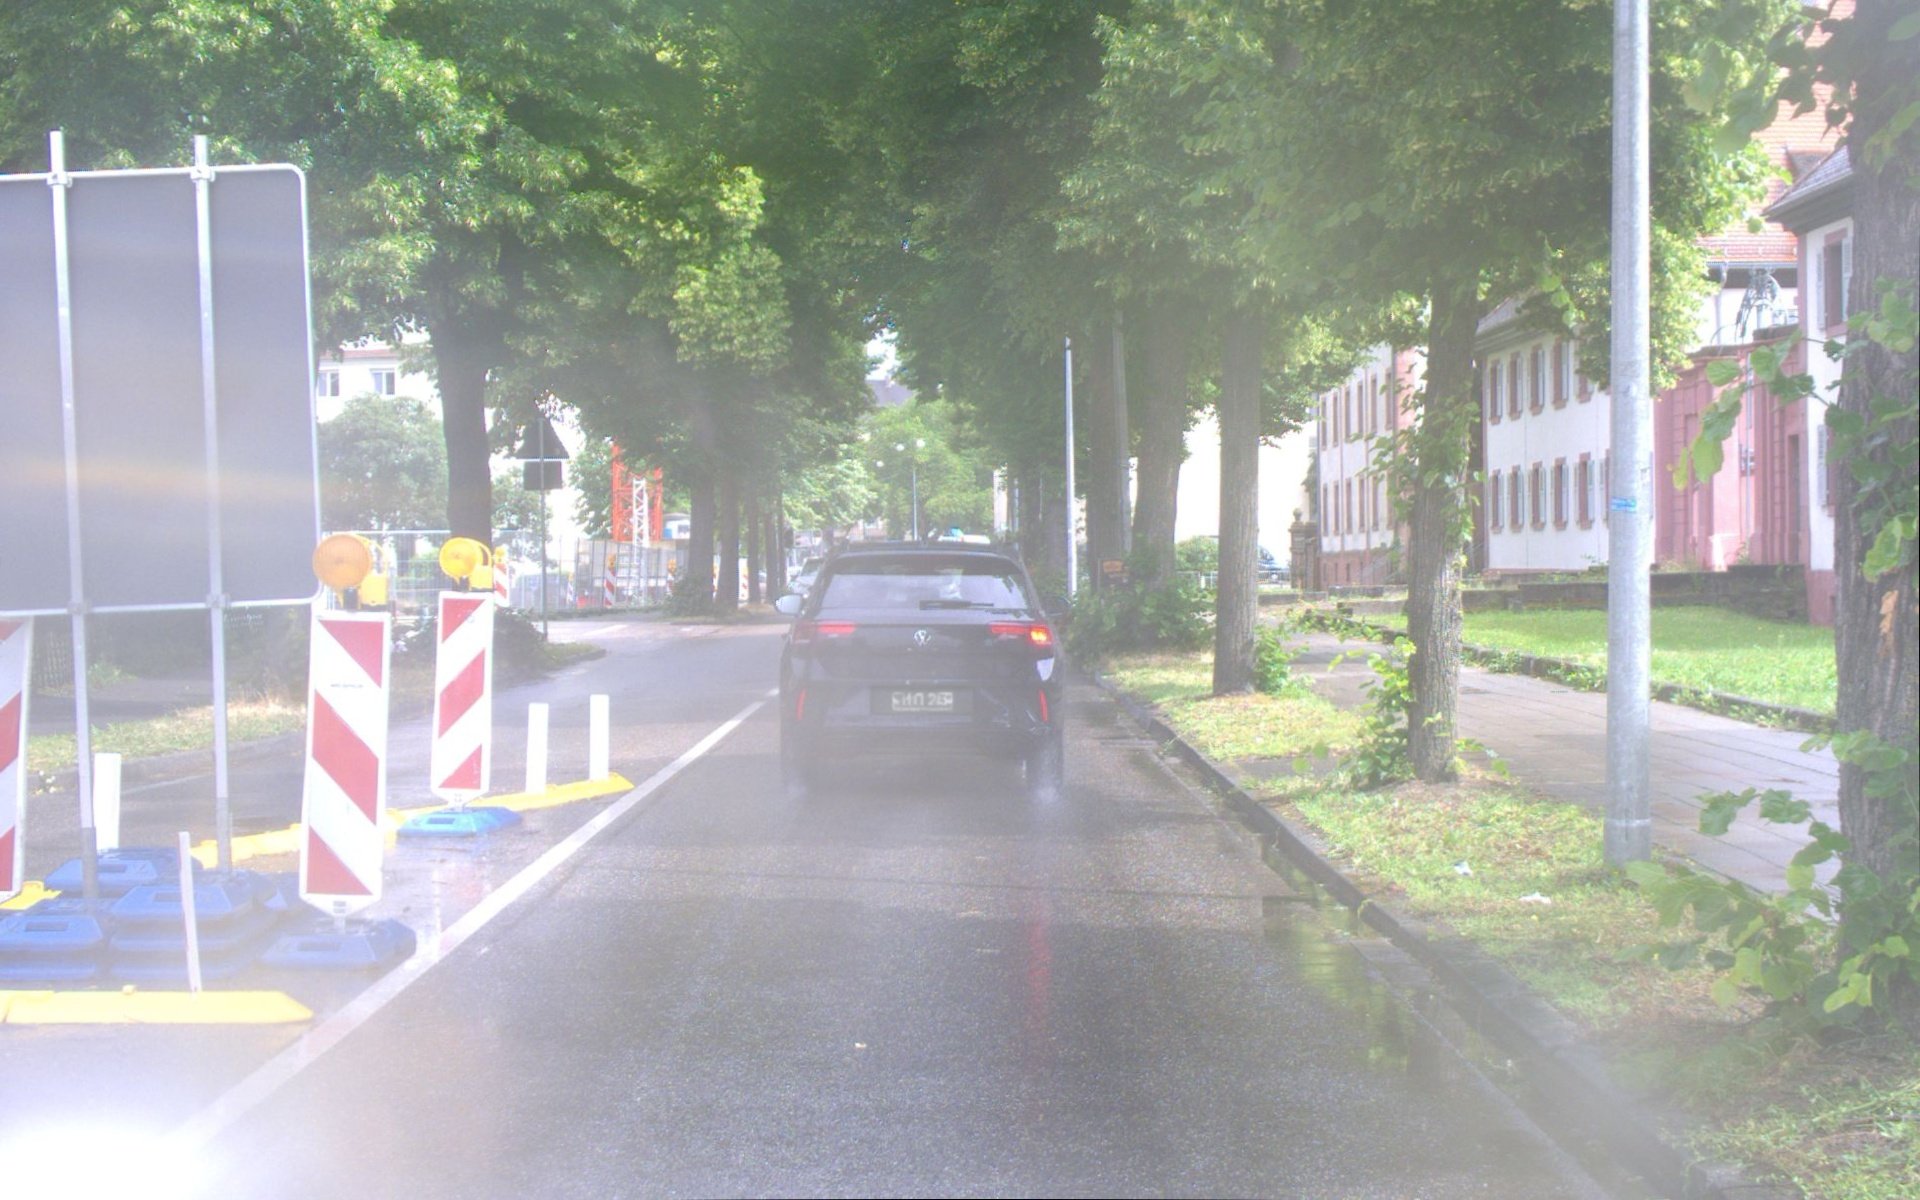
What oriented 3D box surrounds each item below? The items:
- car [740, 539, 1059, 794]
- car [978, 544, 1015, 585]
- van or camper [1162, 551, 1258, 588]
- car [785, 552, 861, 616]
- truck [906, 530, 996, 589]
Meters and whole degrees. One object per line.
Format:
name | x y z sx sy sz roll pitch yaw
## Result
car | -0.350 0.387 22.446 1.895 1.517 4.000 0 0 0
car | 2.211 -2.145 207.971 1.994 2.007 3.998 -2 -5 4
van or camper | 13.020 -1.613 179.504 4.875 1.919 2.131 0 1 1
car | -3.830 -0.468 96.734 1.886 1.708 4.229 -1 1 0
truck | -0.460 -1.918 158.653 2.804 2.647 8.243 0 1 -10
